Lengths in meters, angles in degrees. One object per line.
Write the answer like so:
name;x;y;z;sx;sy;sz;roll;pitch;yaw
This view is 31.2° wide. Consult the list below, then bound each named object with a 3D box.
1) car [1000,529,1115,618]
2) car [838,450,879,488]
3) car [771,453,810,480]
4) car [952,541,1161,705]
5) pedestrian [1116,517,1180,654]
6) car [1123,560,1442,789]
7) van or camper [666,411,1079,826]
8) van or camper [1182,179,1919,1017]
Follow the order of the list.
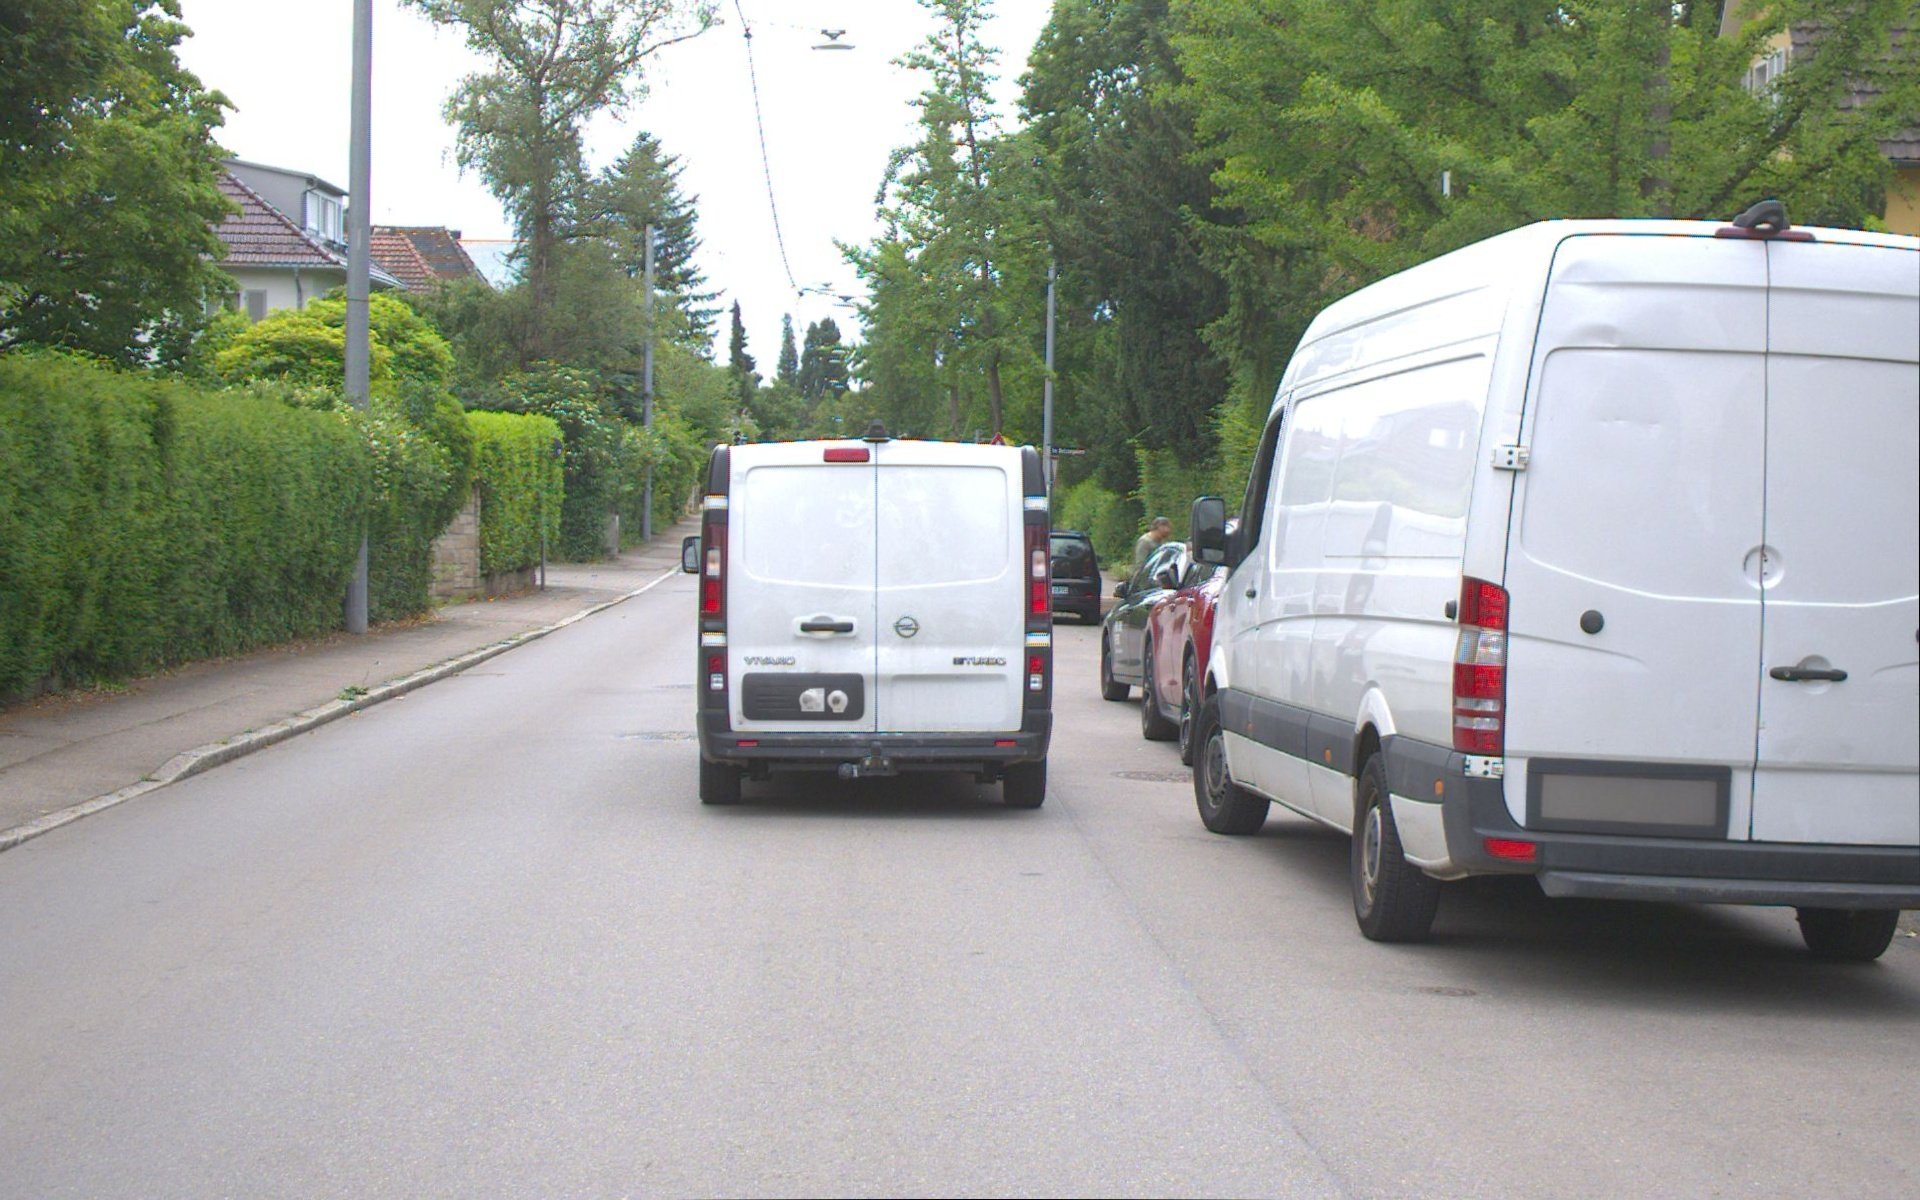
car;1.529;-0.439;54.810;1.530;1.300;3.228;2;2;-3
car;-4.682;-6.070;158.567;1.775;1.645;3.645;1;3;-3
car;-9.723;-7.658;197.124;1.689;1.470;3.581;1;2;6
car;0.812;0.164;31.155;1.530;1.300;4.032;2;2;-3
pedestrian;2.163;-0.172;39.645;0.555;1.554;0.553;0;3;-15
car;2.081;0.440;23.197;1.530;1.300;4.032;2;2;-3
van or camper;-0.643;-0.028;19.658;1.924;2.006;4.831;2;3;-6
van or camper;2.417;-0.064;14.351;2.066;2.665;6.329;2;1;-4
